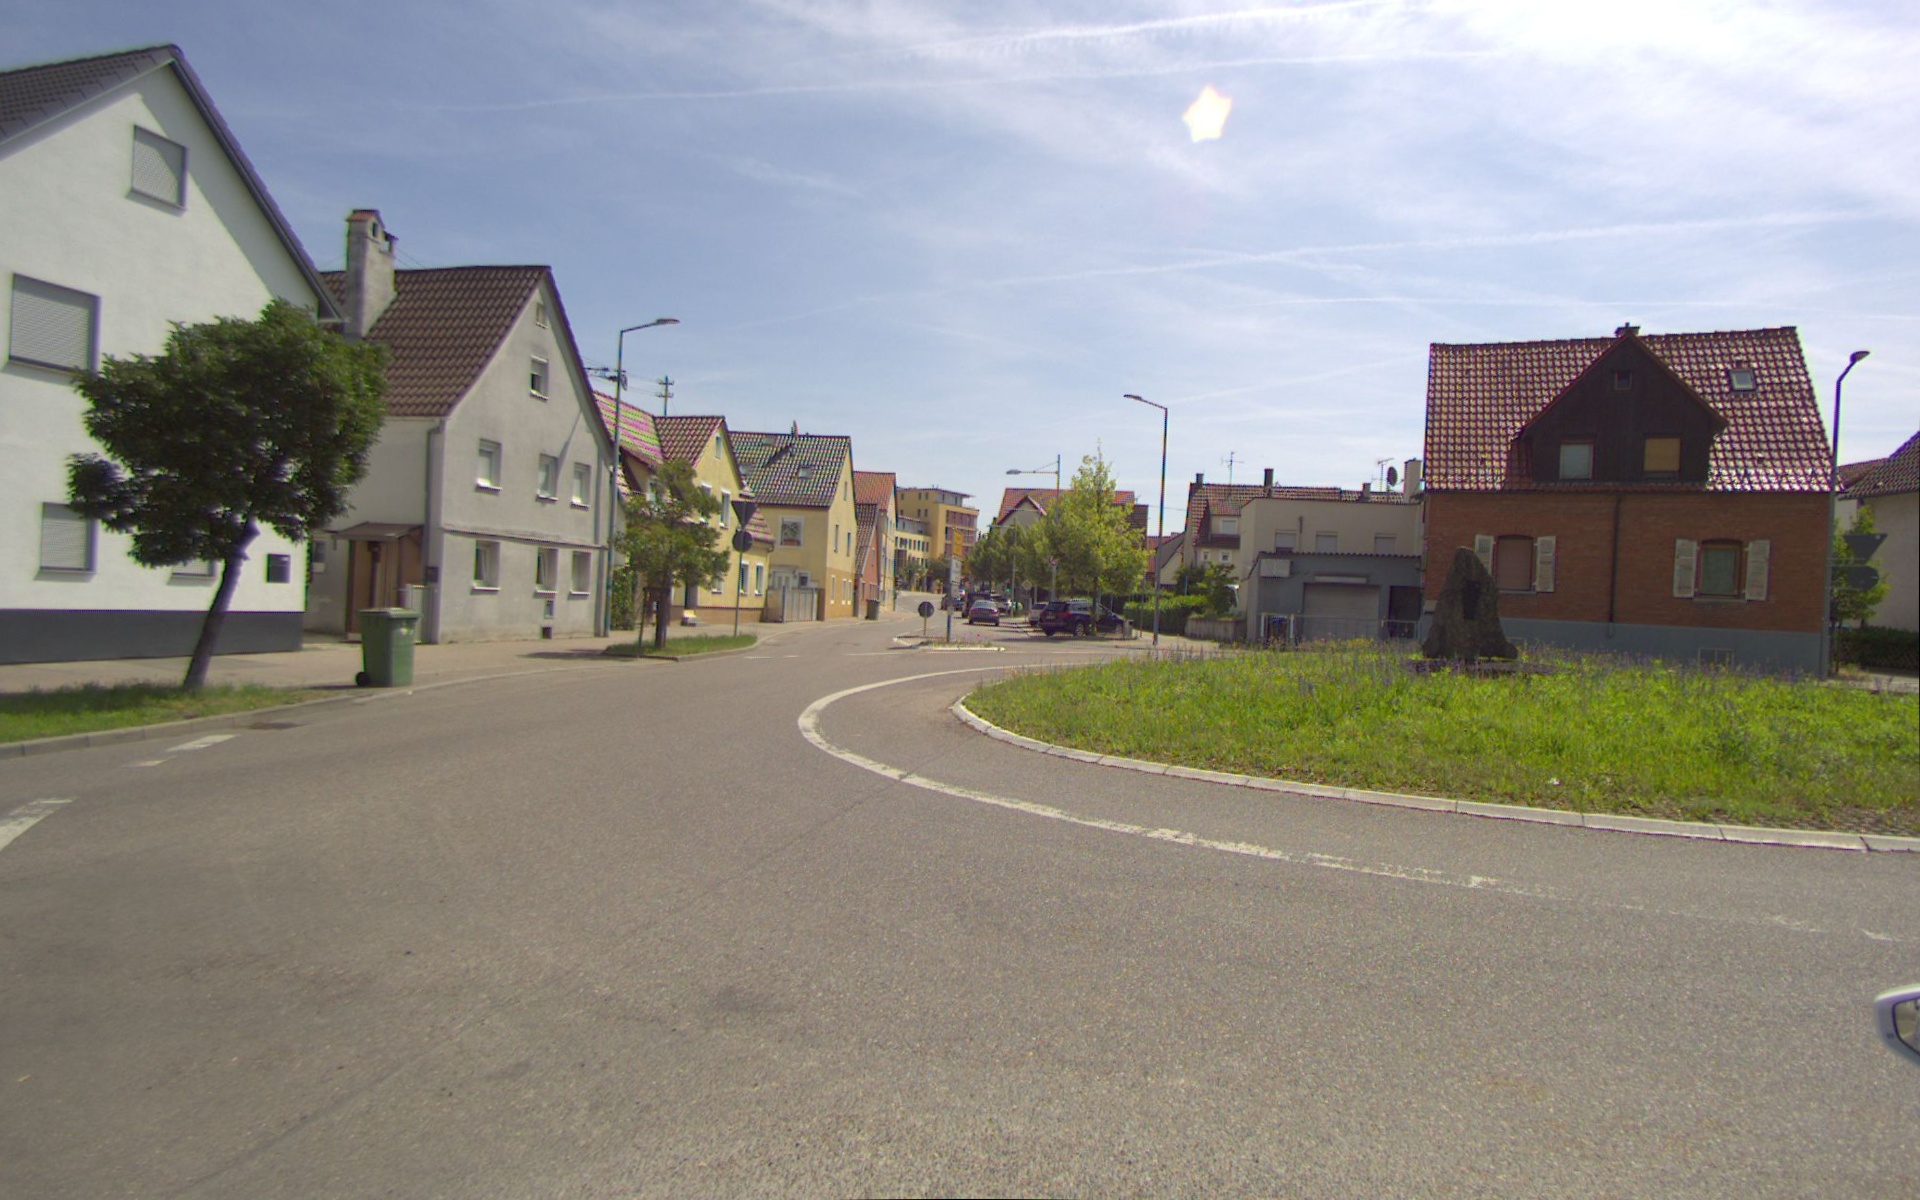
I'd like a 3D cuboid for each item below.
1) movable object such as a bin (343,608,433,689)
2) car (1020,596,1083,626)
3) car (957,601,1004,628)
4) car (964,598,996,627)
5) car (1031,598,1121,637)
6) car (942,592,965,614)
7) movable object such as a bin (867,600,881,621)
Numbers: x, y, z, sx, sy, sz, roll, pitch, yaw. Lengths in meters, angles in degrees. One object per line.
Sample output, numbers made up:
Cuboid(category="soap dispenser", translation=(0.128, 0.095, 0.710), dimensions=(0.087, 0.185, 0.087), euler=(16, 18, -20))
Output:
Cuboid(category="movable object such as a bin", translation=(-7.877, 0.650, 13.854), dimensions=(0.885, 1.062, 0.579), euler=(1, 0, 6))
Cuboid(category="car", translation=(5.761, 0.688, 62.742), dimensions=(1.845, 1.691, 3.979), euler=(3, 0, 42))
Cuboid(category="car", translation=(1.138, 0.815, 57.788), dimensions=(1.844, 1.409, 4.206), euler=(3, 0, -11))
Cuboid(category="car", translation=(1.453, 0.906, 74.760), dimensions=(2.077, 2.040, 3.998), euler=(3, 0, -3))
Cuboid(category="car", translation=(5.443, 0.825, 47.026), dimensions=(3.961, 1.639, 1.799), euler=(3, 0, -36))
Cuboid(category="car", translation=(-0.590, 0.277, 98.494), dimensions=(2.076, 2.040, 4.000), euler=(3, 0, 1))
Cuboid(category="movable object such as a bin", translation=(-4.514, 0.571, 52.552), dimensions=(0.686, 1.066, 0.675), euler=(2, 1, -4))
